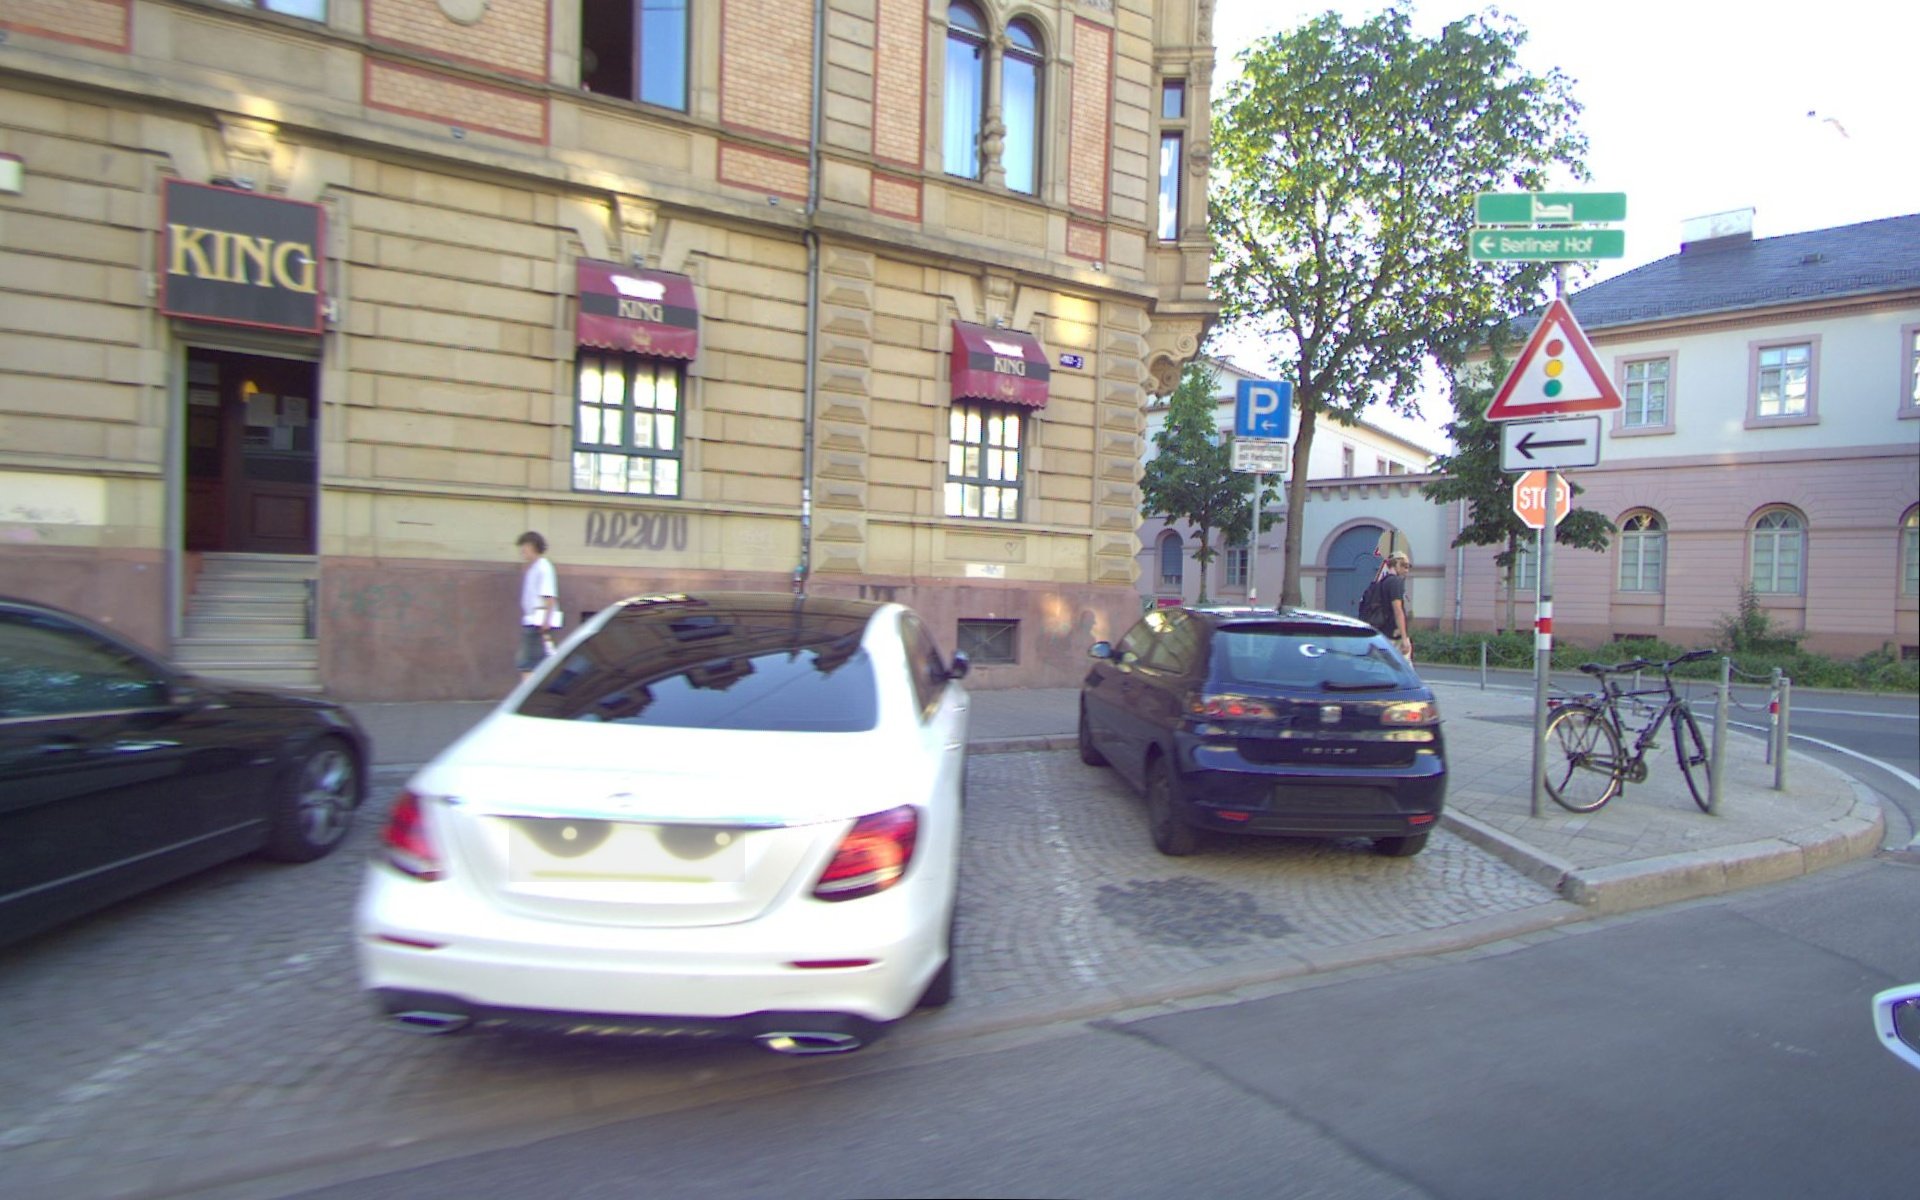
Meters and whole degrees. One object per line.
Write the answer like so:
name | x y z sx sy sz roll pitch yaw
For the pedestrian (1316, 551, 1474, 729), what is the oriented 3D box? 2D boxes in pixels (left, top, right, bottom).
pedestrian | 4.450 0.391 10.354 1.242 1.762 0.850 0 1 -2

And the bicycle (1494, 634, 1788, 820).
bicycle | 4.783 0.860 7.073 1.775 1.141 0.725 2 3 -18

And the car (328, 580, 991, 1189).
car | -0.746 0.709 4.968 1.734 1.532 4.628 2 2 1

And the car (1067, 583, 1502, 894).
car | 1.920 0.709 7.232 1.707 1.481 3.861 2 3 -2

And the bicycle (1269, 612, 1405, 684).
bicycle | 7.517 0.925 20.182 0.837 1.284 2.548 1 1 -34

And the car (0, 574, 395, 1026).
car | -3.949 0.639 3.429 1.677 1.467 4.251 1 0 -1

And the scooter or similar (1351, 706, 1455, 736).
scooter or similar | 4.495 1.230 10.219 0.865 0.210 0.418 3 0 -2

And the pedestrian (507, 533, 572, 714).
pedestrian | -3.950 0.209 9.421 0.514 1.630 0.575 1 2 -25
